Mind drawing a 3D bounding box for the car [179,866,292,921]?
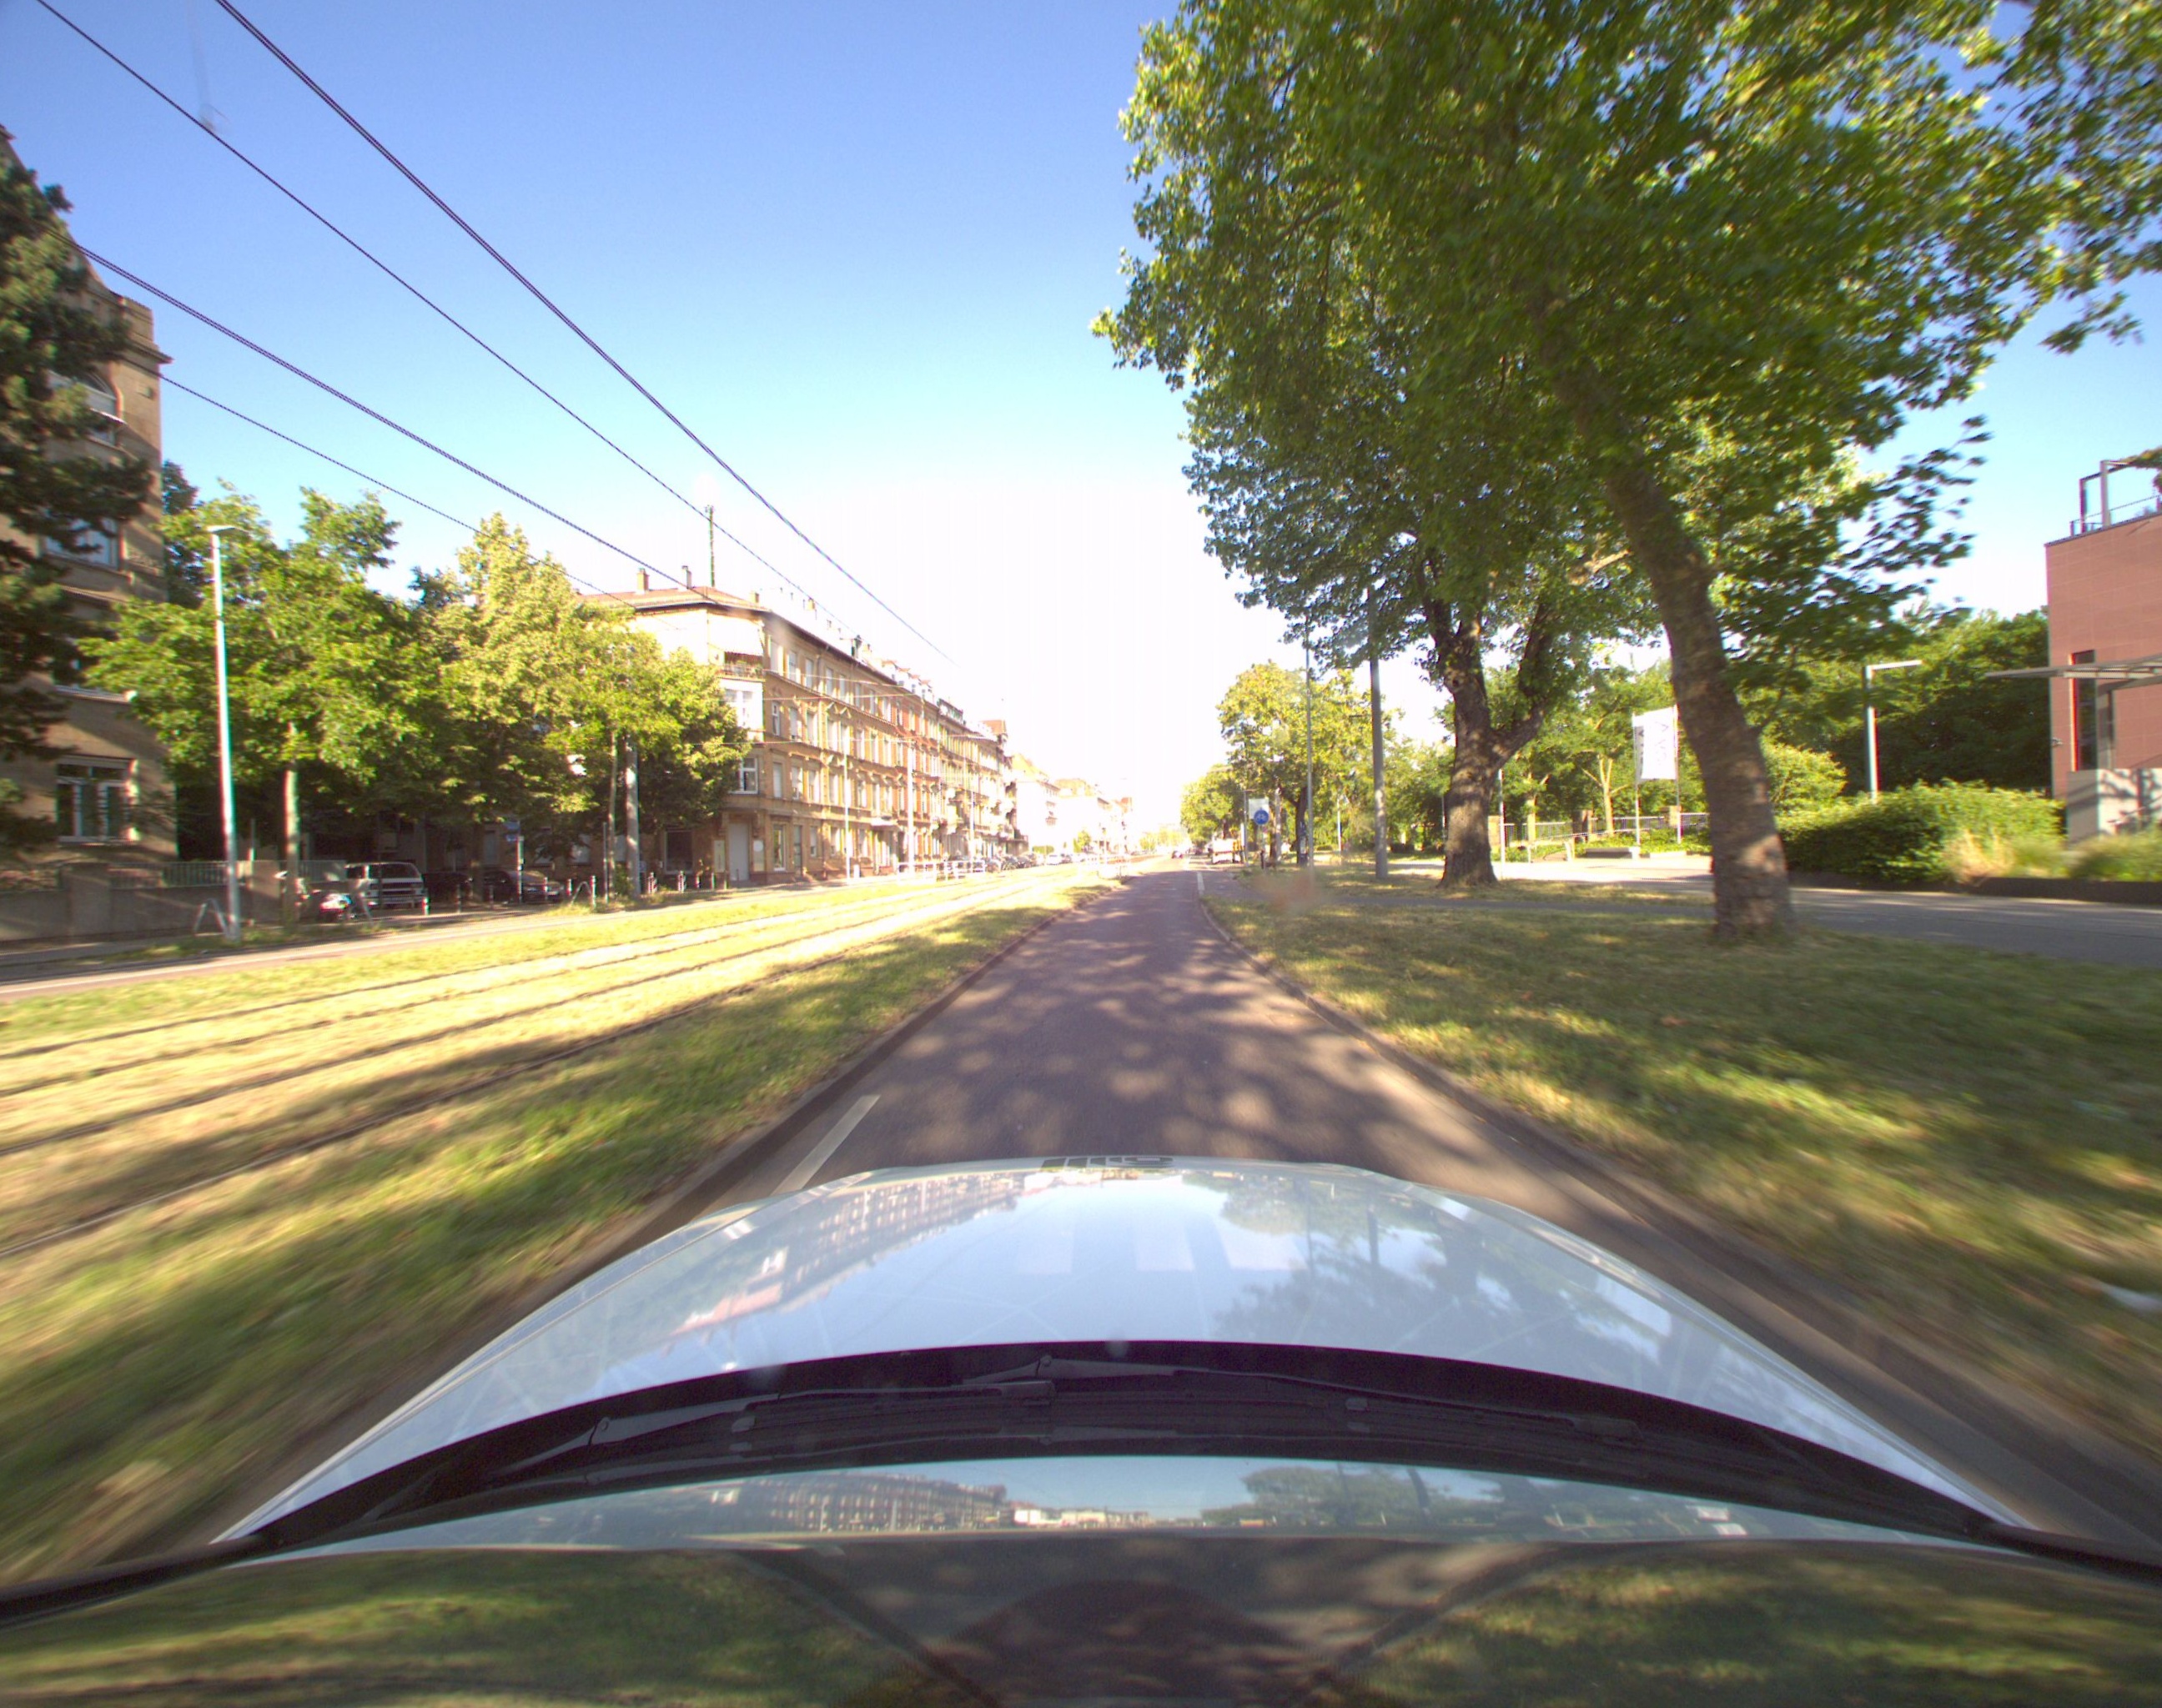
[{"bbox_3d":[-33.895,1.514,32.823,2.075,1.917,4.958,0,0,-33],"label":"car"}]

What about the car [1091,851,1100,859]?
[{"bbox_3d":[3.170,0.270,172.803,1.518,1.560,3.230,0,1,7],"label":"car"}]

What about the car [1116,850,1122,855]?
[{"bbox_3d":[11.015,-0.436,235.928,1.518,1.610,3.230,0,1,7],"label":"car"}]

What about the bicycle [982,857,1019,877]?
[{"bbox_3d":[-4.582,0.732,46.377,1.945,1.040,0.767,-2,0,3],"label":"bicycle"}]

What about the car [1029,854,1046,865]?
[{"bbox_3d":[-5.844,0.712,109.550,1.554,1.457,3.673,0,1,7],"label":"car"}]

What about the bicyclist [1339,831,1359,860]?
[{"bbox_3d":[14.570,-0.460,44.290,0.898,1.496,0.768,-2,0,6],"label":"bicyclist"}]

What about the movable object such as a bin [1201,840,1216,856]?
[{"bbox_3d":[25.121,-1.178,160.428,2.453,2.906,4.008,-5,0,7],"label":"movable object such as a bin"}]

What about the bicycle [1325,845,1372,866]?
[{"bbox_3d":[14.532,0.088,44.282,2.249,1.040,0.768,-2,0,5],"label":"bicycle"}]

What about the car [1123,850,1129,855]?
[{"bbox_3d":[13.640,-0.495,248.131,1.518,1.610,3.230,0,1,7],"label":"car"}]

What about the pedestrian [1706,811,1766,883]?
[{"bbox_3d":[14.436,-0.151,17.968,0.646,1.539,0.785,-3,0,8],"label":"pedestrian"}]

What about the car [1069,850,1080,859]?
[{"bbox_3d":[-1.094,0.112,142.922,1.518,1.560,3.230,0,1,7],"label":"car"}]

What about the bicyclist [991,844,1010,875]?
[{"bbox_3d":[-4.579,0.283,46.378,0.915,1.715,0.767,-2,0,3],"label":"bicyclist"}]

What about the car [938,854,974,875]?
[{"bbox_3d":[-11.069,0.901,72.430,2.004,1.753,4.568,0,1,7],"label":"car"}]

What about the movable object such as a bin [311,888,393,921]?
[{"bbox_3d":[-20.910,1.441,23.392,1.238,0.865,1.239,0,0,5],"label":"movable object such as a bin"}]

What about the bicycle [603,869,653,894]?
[{"bbox_3d":[-22.949,1.361,41.331,0.779,1.179,2.251,0,0,19],"label":"bicycle"}]

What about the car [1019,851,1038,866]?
[{"bbox_3d":[-6.599,0.549,102.694,1.554,1.853,3.908,0,1,7],"label":"car"}]

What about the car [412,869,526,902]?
[{"bbox_3d":[-29.927,1.524,39.885,4.159,1.471,2.003,-1,0,4],"label":"car"}]

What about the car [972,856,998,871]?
[{"bbox_3d":[-9.629,0.945,82.020,1.767,1.406,3.917,0,1,7],"label":"car"}]

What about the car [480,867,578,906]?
[{"bbox_3d":[-22.507,1.266,33.160,4.138,1.471,2.013,-1,0,36],"label":"car"}]

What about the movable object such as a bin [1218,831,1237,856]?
[{"bbox_3d":[18.770,-1.351,104.561,1.957,3.013,4.806,-4,0,7],"label":"movable object such as a bin"}]

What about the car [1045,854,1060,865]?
[{"bbox_3d":[-4.280,0.780,122.329,1.732,1.560,3.776,0,1,7],"label":"car"}]

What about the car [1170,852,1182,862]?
[{"bbox_3d":[16.377,0.457,139.784,1.982,1.684,4.009,0,0,8],"label":"car"}]

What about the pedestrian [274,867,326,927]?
[{"bbox_3d":[-21.456,1.166,22.385,0.615,1.593,0.799,0,0,6],"label":"pedestrian"}]

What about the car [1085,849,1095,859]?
[{"bbox_3d":[1.932,0.001,167.025,1.649,2.139,3.533,0,1,7],"label":"car"}]

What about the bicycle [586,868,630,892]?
[{"bbox_3d":[-24.150,1.317,41.627,0.781,1.179,2.244,0,0,6],"label":"bicycle"}]

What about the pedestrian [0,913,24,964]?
[{"bbox_3d":[-20.657,1.611,15.387,0.645,0.932,0.587,-3,0,12],"label":"pedestrian"}]

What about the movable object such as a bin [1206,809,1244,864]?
[{"bbox_3d":[14.646,-1.703,83.372,3.070,5.088,8.910,-4,0,7],"label":"movable object such as a bin"}]

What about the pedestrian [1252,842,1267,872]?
[{"bbox_3d":[10.118,0.183,46.149,0.657,1.647,0.864,-4,-1,8],"label":"pedestrian"}]

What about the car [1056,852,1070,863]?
[{"bbox_3d":[-2.782,0.537,126.946,1.732,1.560,3.776,0,1,7],"label":"car"}]

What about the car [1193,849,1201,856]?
[{"bbox_3d":[34.208,-0.483,239.839,1.986,1.860,4.001,0,0,1],"label":"car"}]

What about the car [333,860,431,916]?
[{"bbox_3d":[-28.030,1.278,32.616,4.555,2.013,2.013,0,0,36],"label":"car"}]

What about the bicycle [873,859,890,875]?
[{"bbox_3d":[-15.725,1.016,64.344,0.695,1.180,1.755,0,0,8],"label":"bicycle"}]

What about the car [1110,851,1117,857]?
[{"bbox_3d":[8.281,0.071,210.222,1.518,1.560,3.230,0,1,7],"label":"car"}]

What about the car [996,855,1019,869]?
[{"bbox_3d":[-8.174,0.917,91.345,1.767,1.406,3.917,0,1,7],"label":"car"}]
